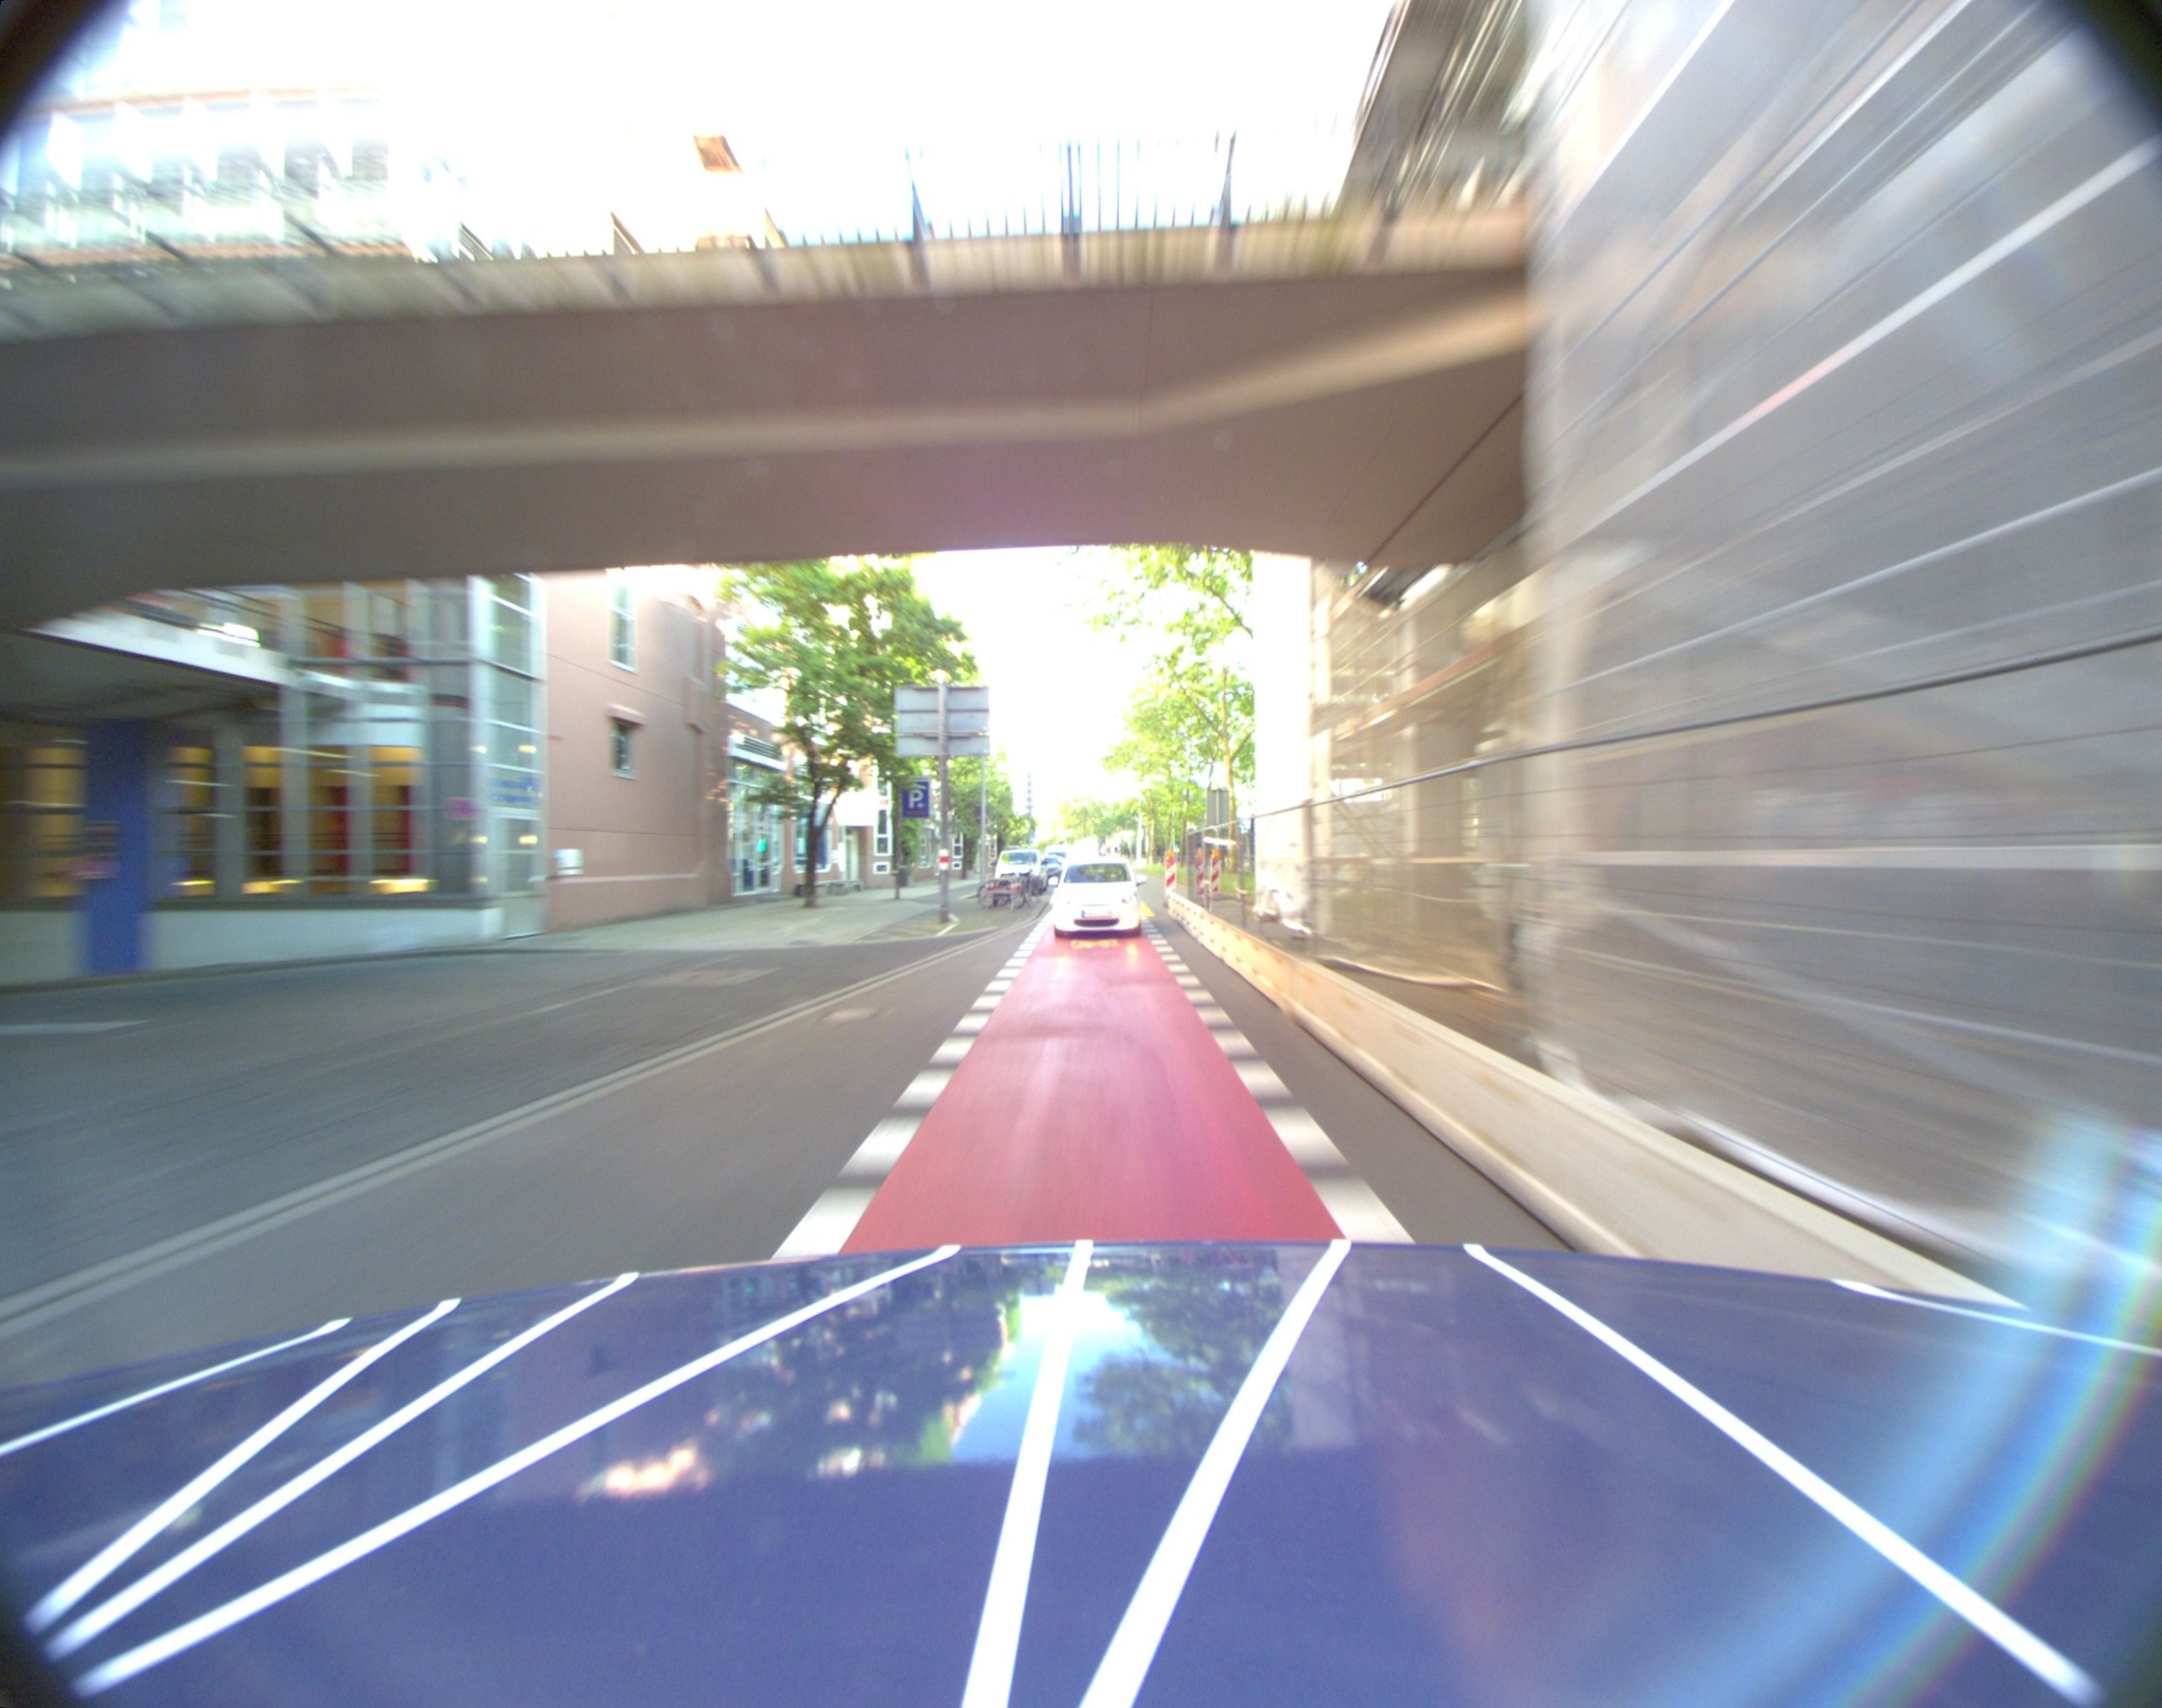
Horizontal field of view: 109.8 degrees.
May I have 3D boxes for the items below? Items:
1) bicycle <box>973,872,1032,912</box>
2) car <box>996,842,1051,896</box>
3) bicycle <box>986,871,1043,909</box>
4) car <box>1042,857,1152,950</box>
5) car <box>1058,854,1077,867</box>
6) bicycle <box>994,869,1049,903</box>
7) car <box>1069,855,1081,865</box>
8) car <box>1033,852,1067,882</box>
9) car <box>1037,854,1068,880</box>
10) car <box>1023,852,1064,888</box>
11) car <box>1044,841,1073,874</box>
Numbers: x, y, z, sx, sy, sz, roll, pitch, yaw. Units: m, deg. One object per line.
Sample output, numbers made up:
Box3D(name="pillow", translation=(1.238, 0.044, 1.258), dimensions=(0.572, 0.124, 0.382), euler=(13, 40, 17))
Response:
Box3D(name="bicycle", translation=(-2.181, 1.036, 21.131), dimensions=(1.678, 1.061, 0.501), euler=(-1, 1, 35))
Box3D(name="car", translation=(-2.348, 0.594, 32.411), dimensions=(1.923, 2.066, 5.170), euler=(-1, 0, 0))
Box3D(name="bicycle", translation=(-1.949, 1.027, 22.018), dimensions=(1.678, 1.061, 0.501), euler=(-1, 1, 35))
Box3D(name="car", translation=(0.175, 0.830, 14.773), dimensions=(1.809, 1.492, 4.199), euler=(-1, 0, -3))
Box3D(name="car", translation=(-1.399, 0.682, 79.124), dimensions=(1.809, 1.323, 3.990), euler=(-1, 0, -3))
Box3D(name="bicycle", translation=(-1.899, 1.024, 24.256), dimensions=(1.679, 1.061, 0.512), euler=(-2, 1, 24))
Box3D(name="car", translation=(-1.057, 0.952, 130.880), dimensions=(1.998, 1.524, 3.999), euler=(-3, 1, 0))
Box3D(name="car", translation=(-1.768, 0.728, 44.651), dimensions=(1.792, 1.660, 4.440), euler=(-1, 0, 0))
Box3D(name="car", translation=(-1.799, 0.799, 49.671), dimensions=(1.833, 1.570, 4.000), euler=(-1, 0, 0))
Box3D(name="car", translation=(-1.806, 0.769, 38.083), dimensions=(1.792, 1.660, 4.199), euler=(-1, 0, 0))
Box3D(name="car", translation=(-1.780, 0.259, 63.019), dimensions=(2.120, 2.550, 5.905), euler=(-1, 0, 1))
